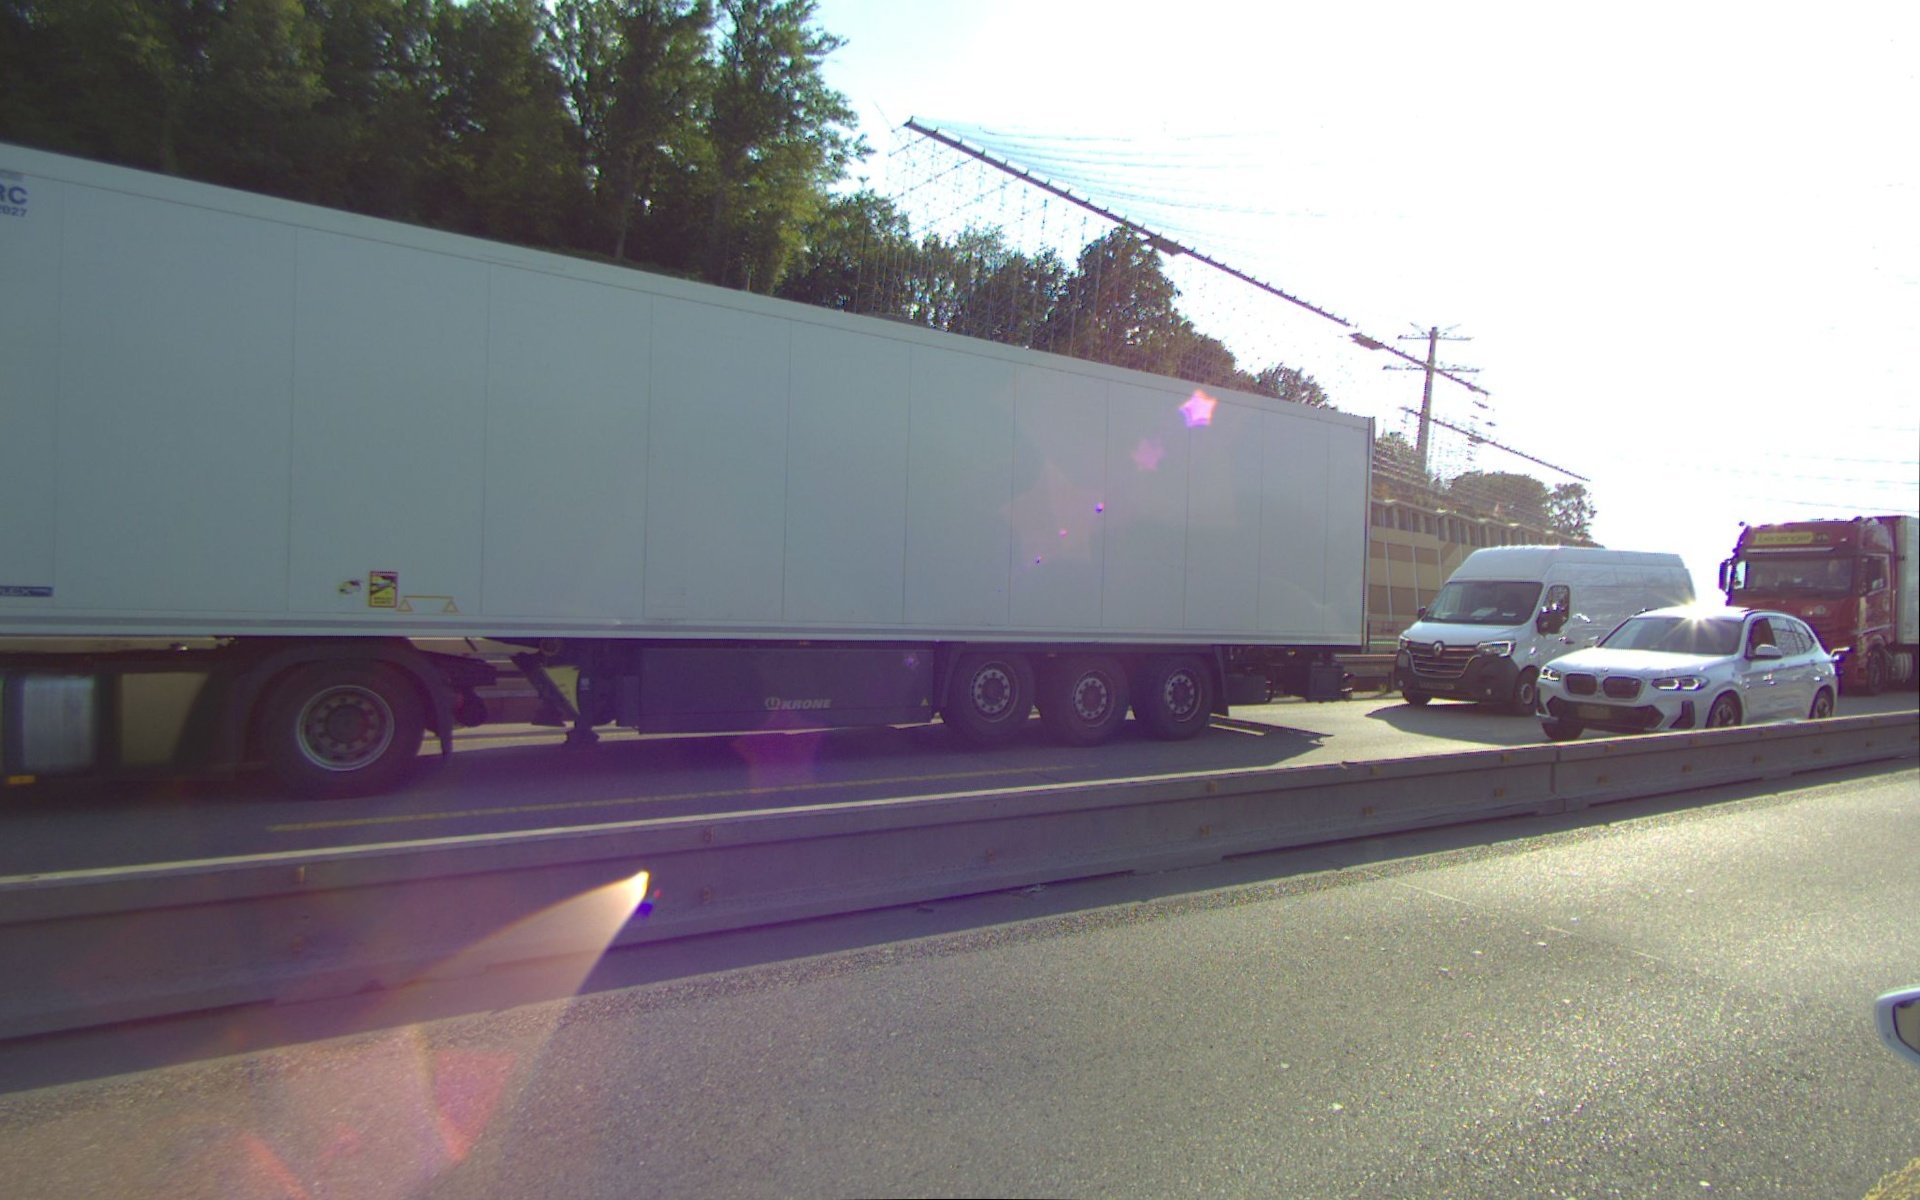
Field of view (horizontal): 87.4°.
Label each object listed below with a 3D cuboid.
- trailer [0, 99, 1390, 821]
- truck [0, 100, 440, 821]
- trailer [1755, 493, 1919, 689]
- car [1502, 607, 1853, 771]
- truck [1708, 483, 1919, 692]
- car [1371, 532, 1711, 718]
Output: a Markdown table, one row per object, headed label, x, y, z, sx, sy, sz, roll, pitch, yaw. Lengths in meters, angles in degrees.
| label | x | y | z | sx | sy | sz | roll | pitch | yaw |
| --- | --- | --- | --- | --- | --- | --- | --- | --- | --- |
| trailer | -0.983 | -0.666 | 10.489 | 13.595 | 4.274 | 2.706 | 2 | 0 | -32 |
| truck | -6.835 | -0.848 | 6.840 | 5.619 | 4.274 | 2.698 | 2 | 0 | -32 |
| trailer | 26.208 | -0.034 | 27.535 | 13.734 | 4.391 | 2.749 | 2 | 0 | -34 |
| car | 9.008 | 0.946 | 12.501 | 4.750 | 1.610 | 1.859 | 0 | 3 | -32 |
| truck | 20.583 | -0.196 | 23.778 | 5.871 | 4.357 | 2.728 | 2 | 0 | -33 |
| car | 10.213 | 0.365 | 17.384 | 6.870 | 2.726 | 2.011 | 0 | 2 | -31 |
